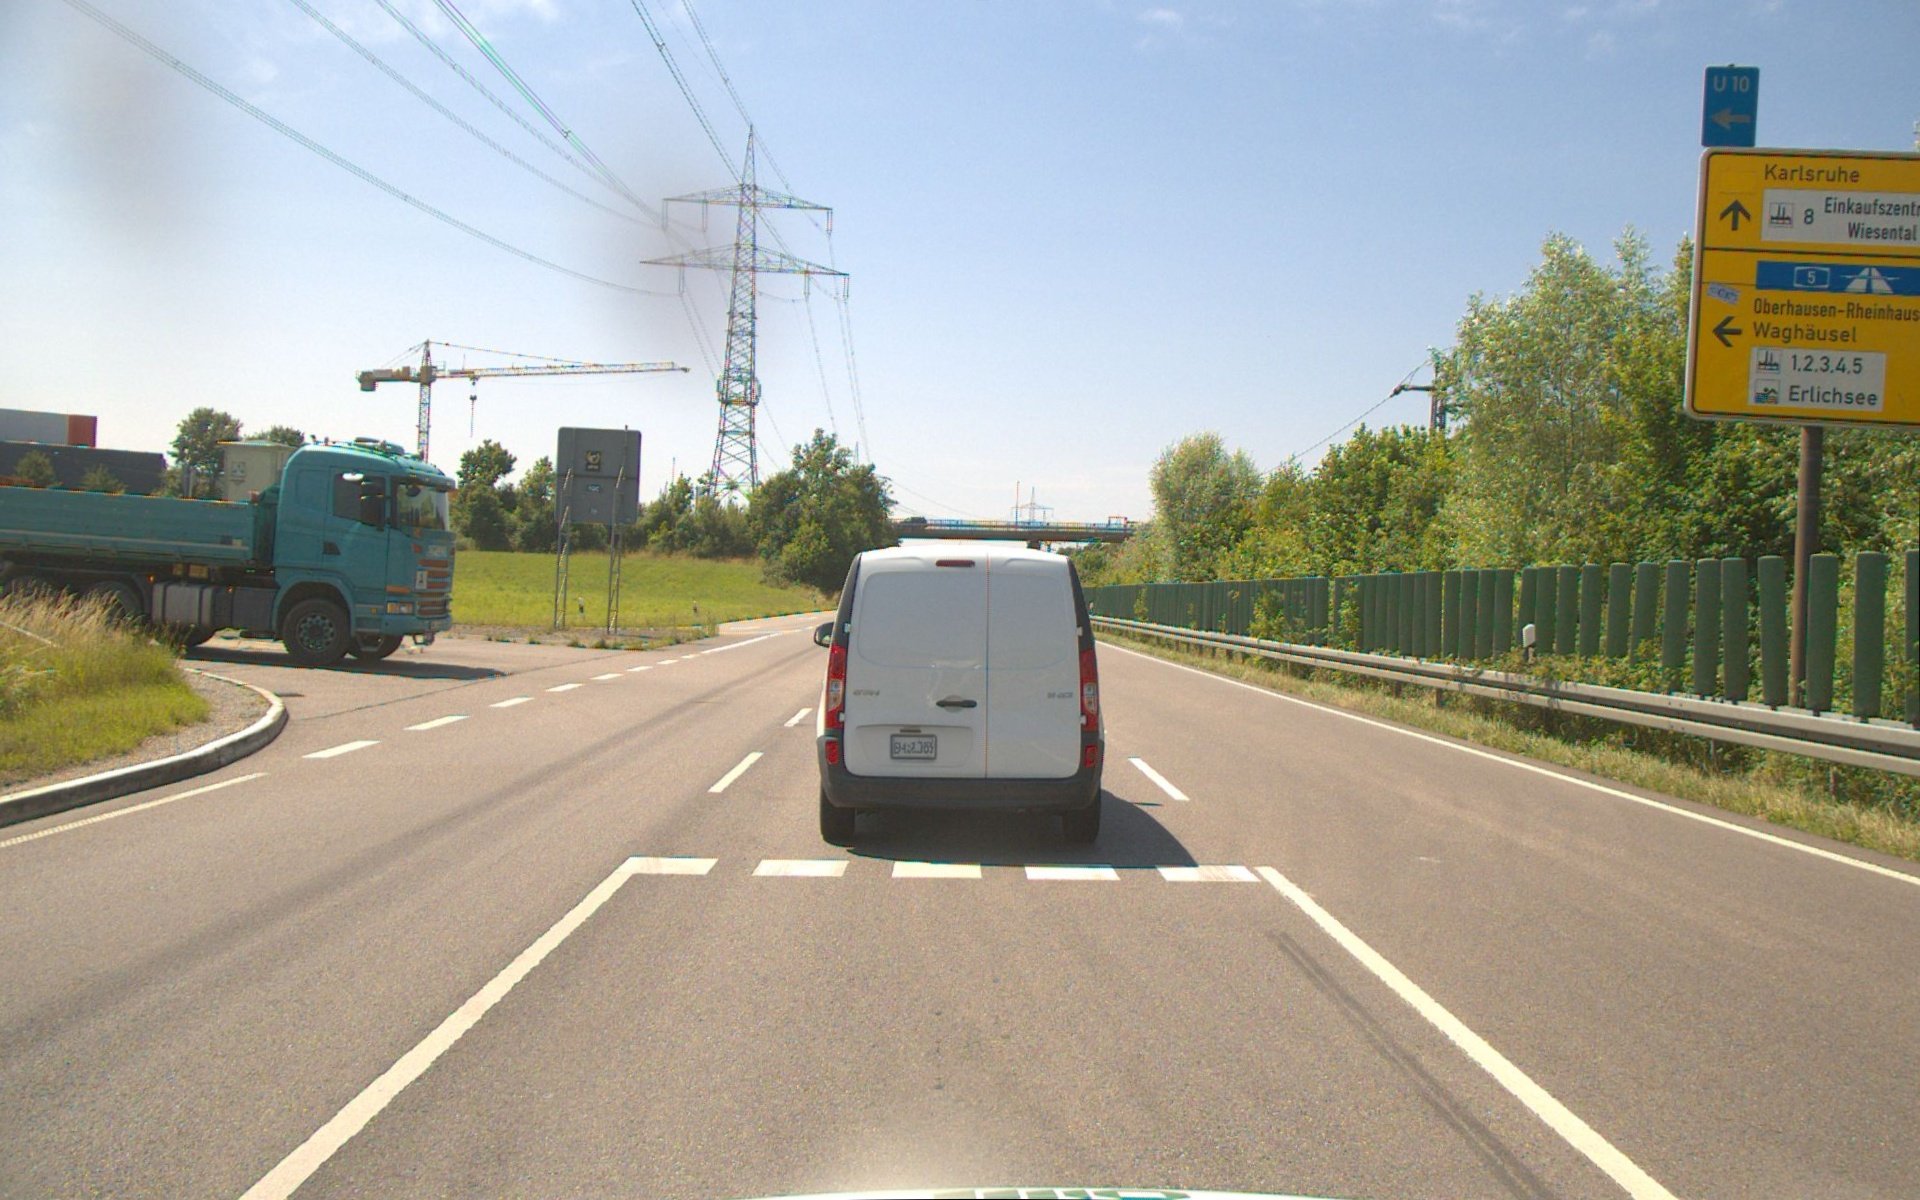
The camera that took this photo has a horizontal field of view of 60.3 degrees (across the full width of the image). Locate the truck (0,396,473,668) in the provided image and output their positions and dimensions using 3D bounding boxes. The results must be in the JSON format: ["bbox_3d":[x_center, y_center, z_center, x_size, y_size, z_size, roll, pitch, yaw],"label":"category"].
[{"bbox_3d":[-12.282,-1.099,26.915,7.742,3.799,2.499,4,0,2],"label":"truck"}]

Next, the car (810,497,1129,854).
[{"bbox_3d":[0.024,0.420,11.412,1.790,2.005,3.999,1,0,-1],"label":"car"}]

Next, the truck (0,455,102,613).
[{"bbox_3d":[-24.672,-1.563,37.211,9.464,3.345,2.832,2,1,6],"label":"truck"}]

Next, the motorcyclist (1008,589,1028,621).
[{"bbox_3d":[2.746,0.227,78.669,0.871,1.502,1.002,1,0,-1],"label":"motorcyclist"}]

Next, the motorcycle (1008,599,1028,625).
[{"bbox_3d":[2.755,0.576,78.682,0.774,1.178,1.901,2,0,-2],"label":"motorcycle"}]
